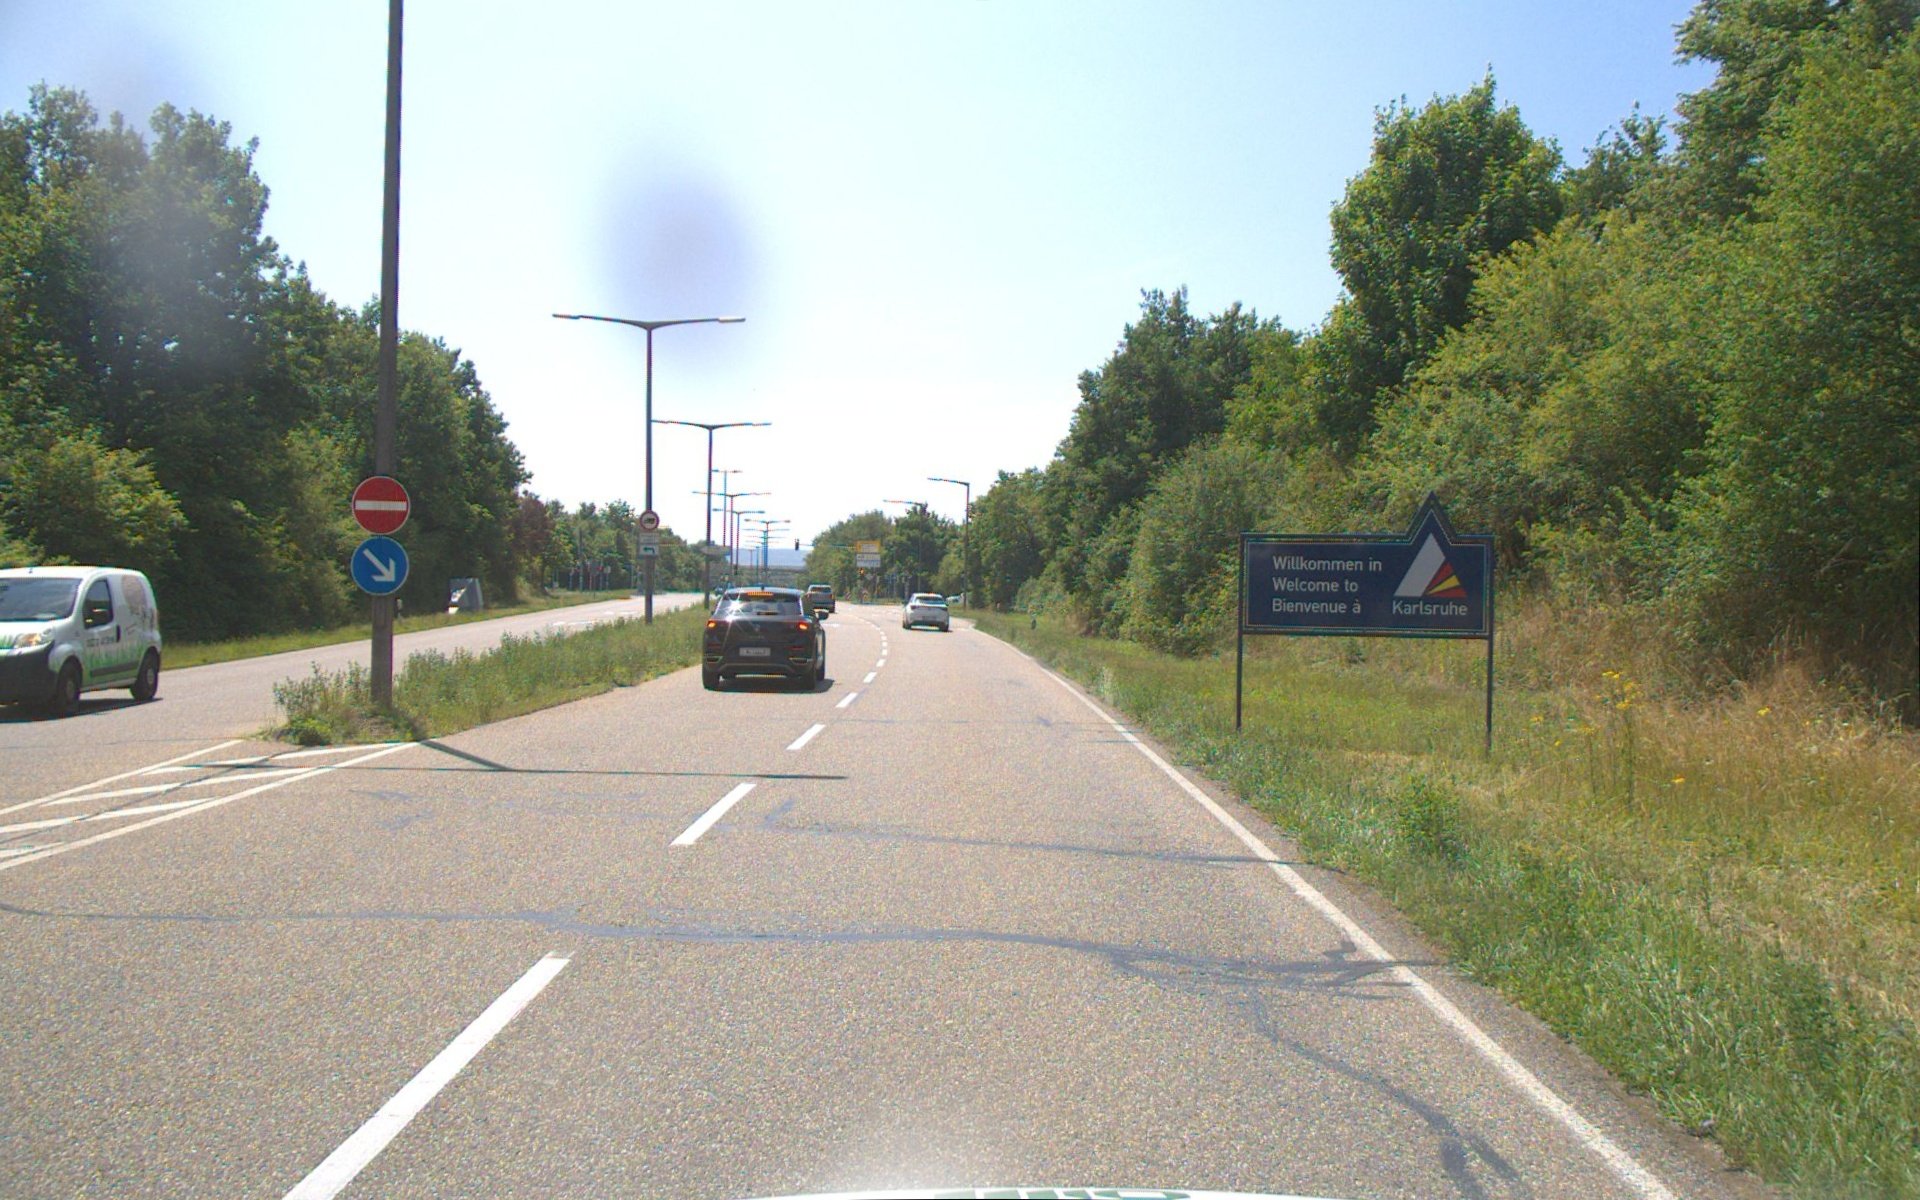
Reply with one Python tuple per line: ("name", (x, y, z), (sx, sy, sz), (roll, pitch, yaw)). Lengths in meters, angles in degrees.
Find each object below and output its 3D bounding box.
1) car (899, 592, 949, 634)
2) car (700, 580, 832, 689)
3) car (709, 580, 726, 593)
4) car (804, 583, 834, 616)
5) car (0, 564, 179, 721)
("car", (-1.479, 0.521, 66.964), (1.762, 1.611, 3.996), (1, 0, -4))
("car", (-3.053, 0.513, 26.764), (1.720, 1.583, 3.999), (2, 0, -2))
("car", (-30.186, -1.620, 205.920), (1.792, 1.545, 3.997), (2, 0, -4))
("car", (-8.904, -0.049, 104.403), (1.722, 1.962, 3.994), (2, 0, -6))
("car", (-11.158, 0.459, 20.186), (1.699, 1.717, 4.089), (-1, 1, -7))
